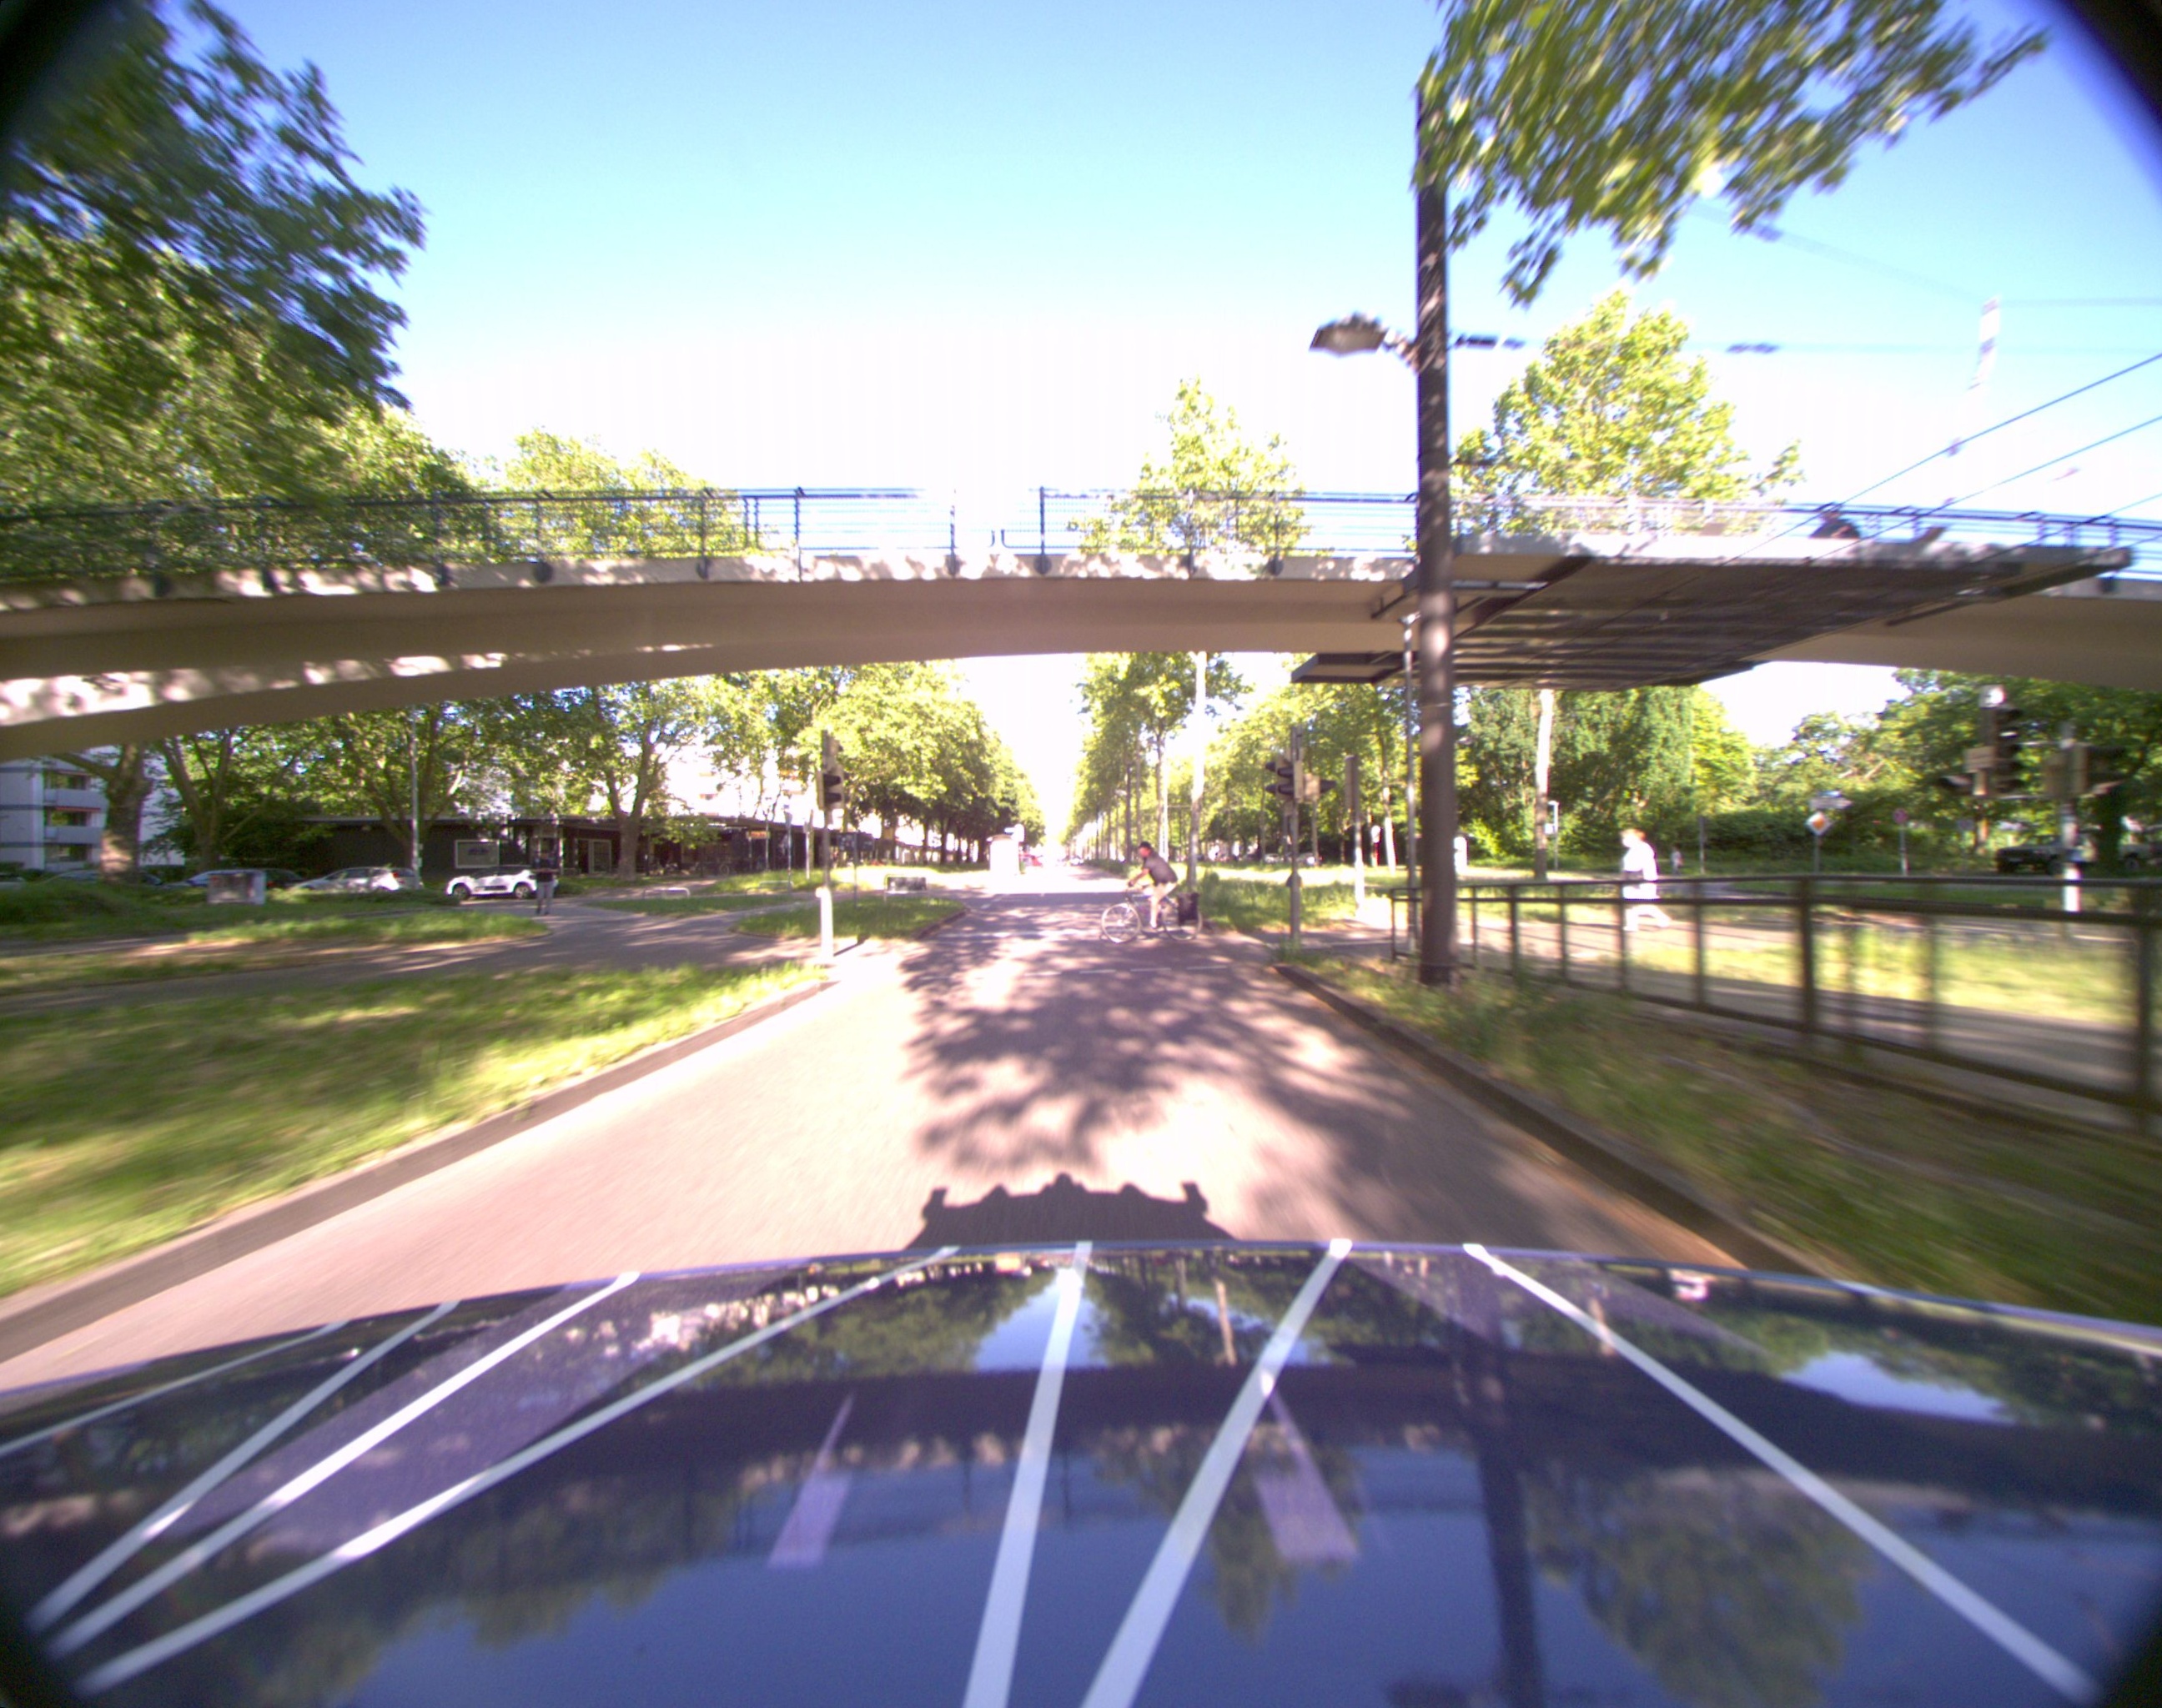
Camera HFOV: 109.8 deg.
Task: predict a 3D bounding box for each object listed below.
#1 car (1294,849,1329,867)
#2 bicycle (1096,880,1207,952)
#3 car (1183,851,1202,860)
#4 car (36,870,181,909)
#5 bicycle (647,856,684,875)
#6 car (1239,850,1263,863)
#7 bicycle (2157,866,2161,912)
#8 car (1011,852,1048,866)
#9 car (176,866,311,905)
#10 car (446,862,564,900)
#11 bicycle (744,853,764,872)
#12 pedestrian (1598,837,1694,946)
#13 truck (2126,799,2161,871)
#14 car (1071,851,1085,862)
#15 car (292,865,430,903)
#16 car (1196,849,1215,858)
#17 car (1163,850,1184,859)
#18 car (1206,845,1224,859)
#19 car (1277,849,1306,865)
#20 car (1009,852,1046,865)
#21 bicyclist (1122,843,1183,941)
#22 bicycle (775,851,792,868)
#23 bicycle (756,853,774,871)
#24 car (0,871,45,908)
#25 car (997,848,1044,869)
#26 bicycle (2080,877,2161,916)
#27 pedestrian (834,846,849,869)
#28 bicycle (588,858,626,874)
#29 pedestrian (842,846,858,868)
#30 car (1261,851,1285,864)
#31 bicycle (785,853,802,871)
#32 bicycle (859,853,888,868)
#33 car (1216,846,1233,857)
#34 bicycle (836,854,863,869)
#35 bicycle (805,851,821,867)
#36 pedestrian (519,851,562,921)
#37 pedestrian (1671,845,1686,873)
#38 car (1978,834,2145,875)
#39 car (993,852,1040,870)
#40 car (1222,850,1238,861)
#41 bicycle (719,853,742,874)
[{"bbox_3d":[22.632,0.361,74.677,1.902,1.480,4.626,-4,1,0],"label":"car"},{"bbox_3d":[1.190,1.058,13.181,1.835,1.140,0.815,-2,0,1],"label":"bicycle"},{"bbox_3d":[21.089,0.256,143.421,1.884,1.558,4.007,-1,1,35],"label":"car"},{"bbox_3d":[-40.108,1.460,31.421,3.590,1.486,1.627,-1,-2,-7],"label":"car"},{"bbox_3d":[-25.746,0.689,47.094,1.806,1.109,0.710,0,2,-7],"label":"bicycle"},{"bbox_3d":[22.035,0.293,98.717,1.843,1.480,4.178,-4,0,-2],"label":"car"},{"bbox_3d":[24.103,0.769,16.020,0.435,1.003,1.686,-2,0,1],"label":"bicycle"},{"bbox_3d":[-6.313,0.587,93.227,4.311,1.666,1.862,-1,0,-44],"label":"car"},{"bbox_3d":[-34.847,1.319,31.697,3.590,1.486,1.623,-1,-2,-7],"label":"car"},{"bbox_3d":[-24.679,1.147,32.648,3.739,1.486,1.709,-2,-2,-2],"label":"car"},{"bbox_3d":[-22.716,0.561,52.851,0.577,1.246,1.805,-2,1,-1],"label":"bicycle"},{"bbox_3d":[9.113,0.578,12.296,0.727,1.664,1.048,-2,1,-3],"label":"pedestrian"},{"bbox_3d":[59.837,-1.062,39.397,8.514,3.729,2.745,-1,1,-6],"label":"truck"},{"bbox_3d":[-0.444,0.426,118.669,1.897,1.623,4.502,-2,0,2],"label":"car"},{"bbox_3d":[-30.510,1.268,32.296,3.986,1.486,1.667,-1,-2,-11],"label":"car"},{"bbox_3d":[22.286,-0.117,135.833,1.884,1.558,4.007,-1,1,35],"label":"car"},{"bbox_3d":[21.252,0.135,173.949,4.507,1.699,1.895,-3,1,-32],"label":"car"},{"bbox_3d":[21.356,-0.391,121.244,1.987,2.045,4.277,-5,1,-2],"label":"car"},{"bbox_3d":[22.485,0.290,81.270,1.820,1.587,4.189,-4,1,0],"label":"car"},{"bbox_3d":[-6.042,0.539,85.699,1.681,1.395,4.096,1,0,42],"label":"car"},{"bbox_3d":[1.228,0.638,13.171,0.956,1.622,0.815,-2,0,1],"label":"bicyclist"},{"bbox_3d":[-23.256,0.427,59.435,0.577,1.246,1.805,-2,1,-1],"label":"bicycle"},{"bbox_3d":[-22.828,0.537,54.926,0.577,1.246,1.805,-2,1,-1],"label":"bicycle"},{"bbox_3d":[-45.414,1.507,31.087,3.589,1.486,1.584,-1,-2,-5],"label":"car"},{"bbox_3d":[-5.443,0.361,68.550,3.960,1.832,1.763,0,1,-45],"label":"car"},{"bbox_3d":[22.707,0.915,16.519,0.435,0.774,1.174,-2,0,1],"label":"bicycle"},{"bbox_3d":[-19.481,0.269,61.878,0.967,1.830,0.952,0,1,-9],"label":"pedestrian"},{"bbox_3d":[-29.167,0.738,46.778,1.806,0.949,0.710,1,1,-7],"label":"bicycle"},{"bbox_3d":[-17.982,0.231,59.132,1.131,1.698,0.732,0,1,-9],"label":"pedestrian"},{"bbox_3d":[22.374,0.387,88.551,1.723,1.411,4.023,-4,1,0],"label":"car"},{"bbox_3d":[-21.440,0.589,56.624,0.577,1.246,1.805,-2,1,-1],"label":"bicycle"},{"bbox_3d":[-15.978,0.526,58.545,2.073,1.151,0.561,0,1,-10],"label":"bicycle"},{"bbox_3d":[21.562,-0.345,114.361,1.754,1.487,3.816,-4,1,-1],"label":"car"},{"bbox_3d":[-18.129,0.591,59.467,2.069,1.151,0.562,1,1,14],"label":"bicycle"},{"bbox_3d":[-21.708,0.419,61.531,0.577,1.246,1.805,-2,1,-1],"label":"bicycle"},{"bbox_3d":[-13.930,0.812,19.588,0.658,1.767,0.741,-1,-1,38],"label":"pedestrian"},{"bbox_3d":[32.528,0.257,41.379,0.534,1.483,0.588,-1,1,25],"label":"pedestrian"},{"bbox_3d":[49.681,0.011,38.575,6.151,1.937,2.224,-1,1,-5],"label":"car"},{"bbox_3d":[-5.487,0.626,64.871,3.837,1.464,1.514,0,1,-44],"label":"car"},{"bbox_3d":[21.363,0.216,109.017,1.545,1.480,3.569,-4,0,-1],"label":"car"},{"bbox_3d":[-22.496,0.608,48.801,0.577,1.246,1.805,-2,1,-1],"label":"bicycle"}]
